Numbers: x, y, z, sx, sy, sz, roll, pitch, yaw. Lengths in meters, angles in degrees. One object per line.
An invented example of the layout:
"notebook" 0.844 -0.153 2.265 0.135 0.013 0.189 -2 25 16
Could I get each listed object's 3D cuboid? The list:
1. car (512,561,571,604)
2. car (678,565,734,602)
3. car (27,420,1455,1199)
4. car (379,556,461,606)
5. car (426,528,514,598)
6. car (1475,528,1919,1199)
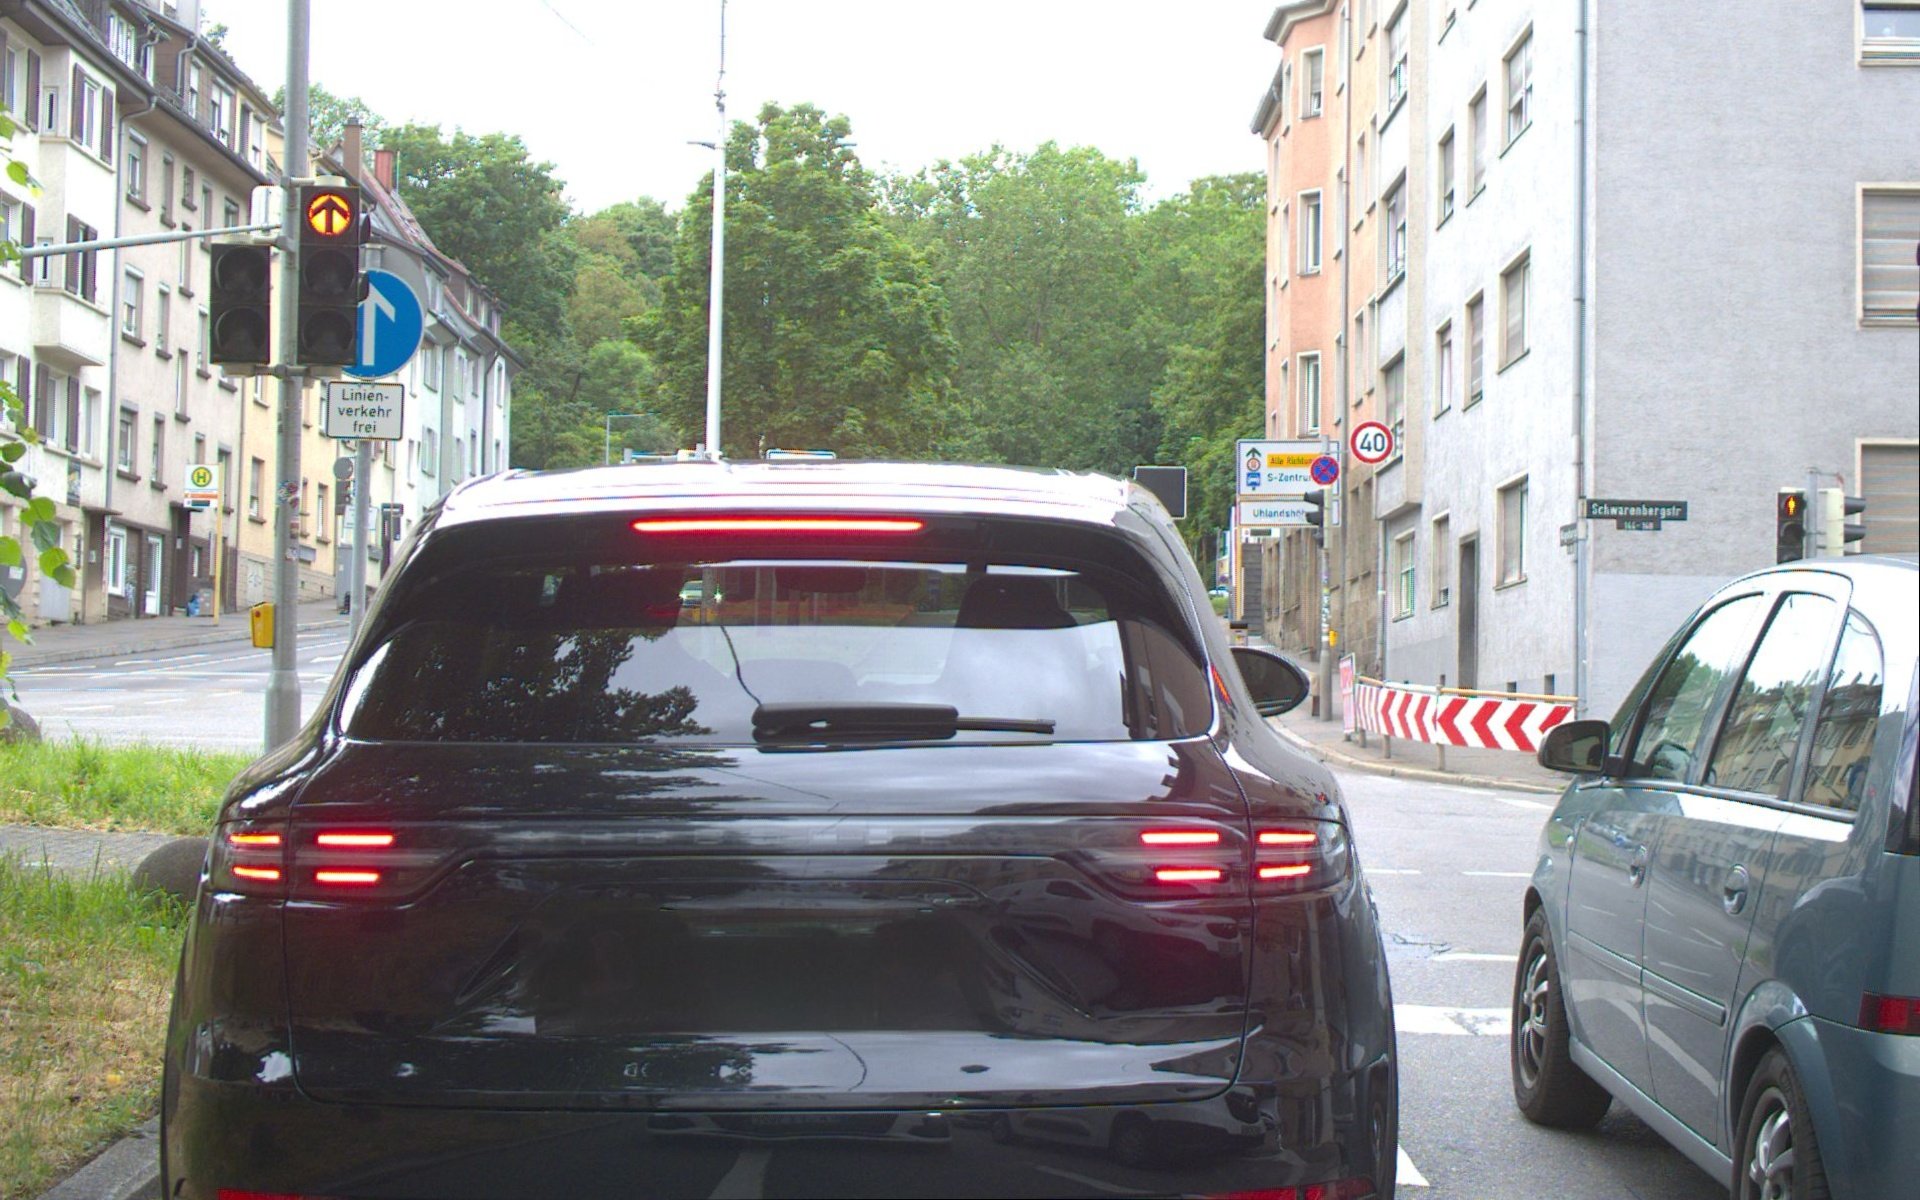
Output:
"car" -15.196 -0.641 124.941 1.689 1.533 3.814 1 1 0
"car" -9.869 -0.642 133.898 1.862 1.383 4.094 1 1 0
"car" -0.323 0.570 6.716 1.955 1.669 4.000 0 1 -1
"car" -15.499 -0.564 98.866 1.739 1.382 3.814 1 1 0
"car" -14.886 -1.118 104.633 2.016 2.038 4.667 1 1 0
"car" 2.341 0.703 7.883 1.628 1.592 3.669 4 1 -1
